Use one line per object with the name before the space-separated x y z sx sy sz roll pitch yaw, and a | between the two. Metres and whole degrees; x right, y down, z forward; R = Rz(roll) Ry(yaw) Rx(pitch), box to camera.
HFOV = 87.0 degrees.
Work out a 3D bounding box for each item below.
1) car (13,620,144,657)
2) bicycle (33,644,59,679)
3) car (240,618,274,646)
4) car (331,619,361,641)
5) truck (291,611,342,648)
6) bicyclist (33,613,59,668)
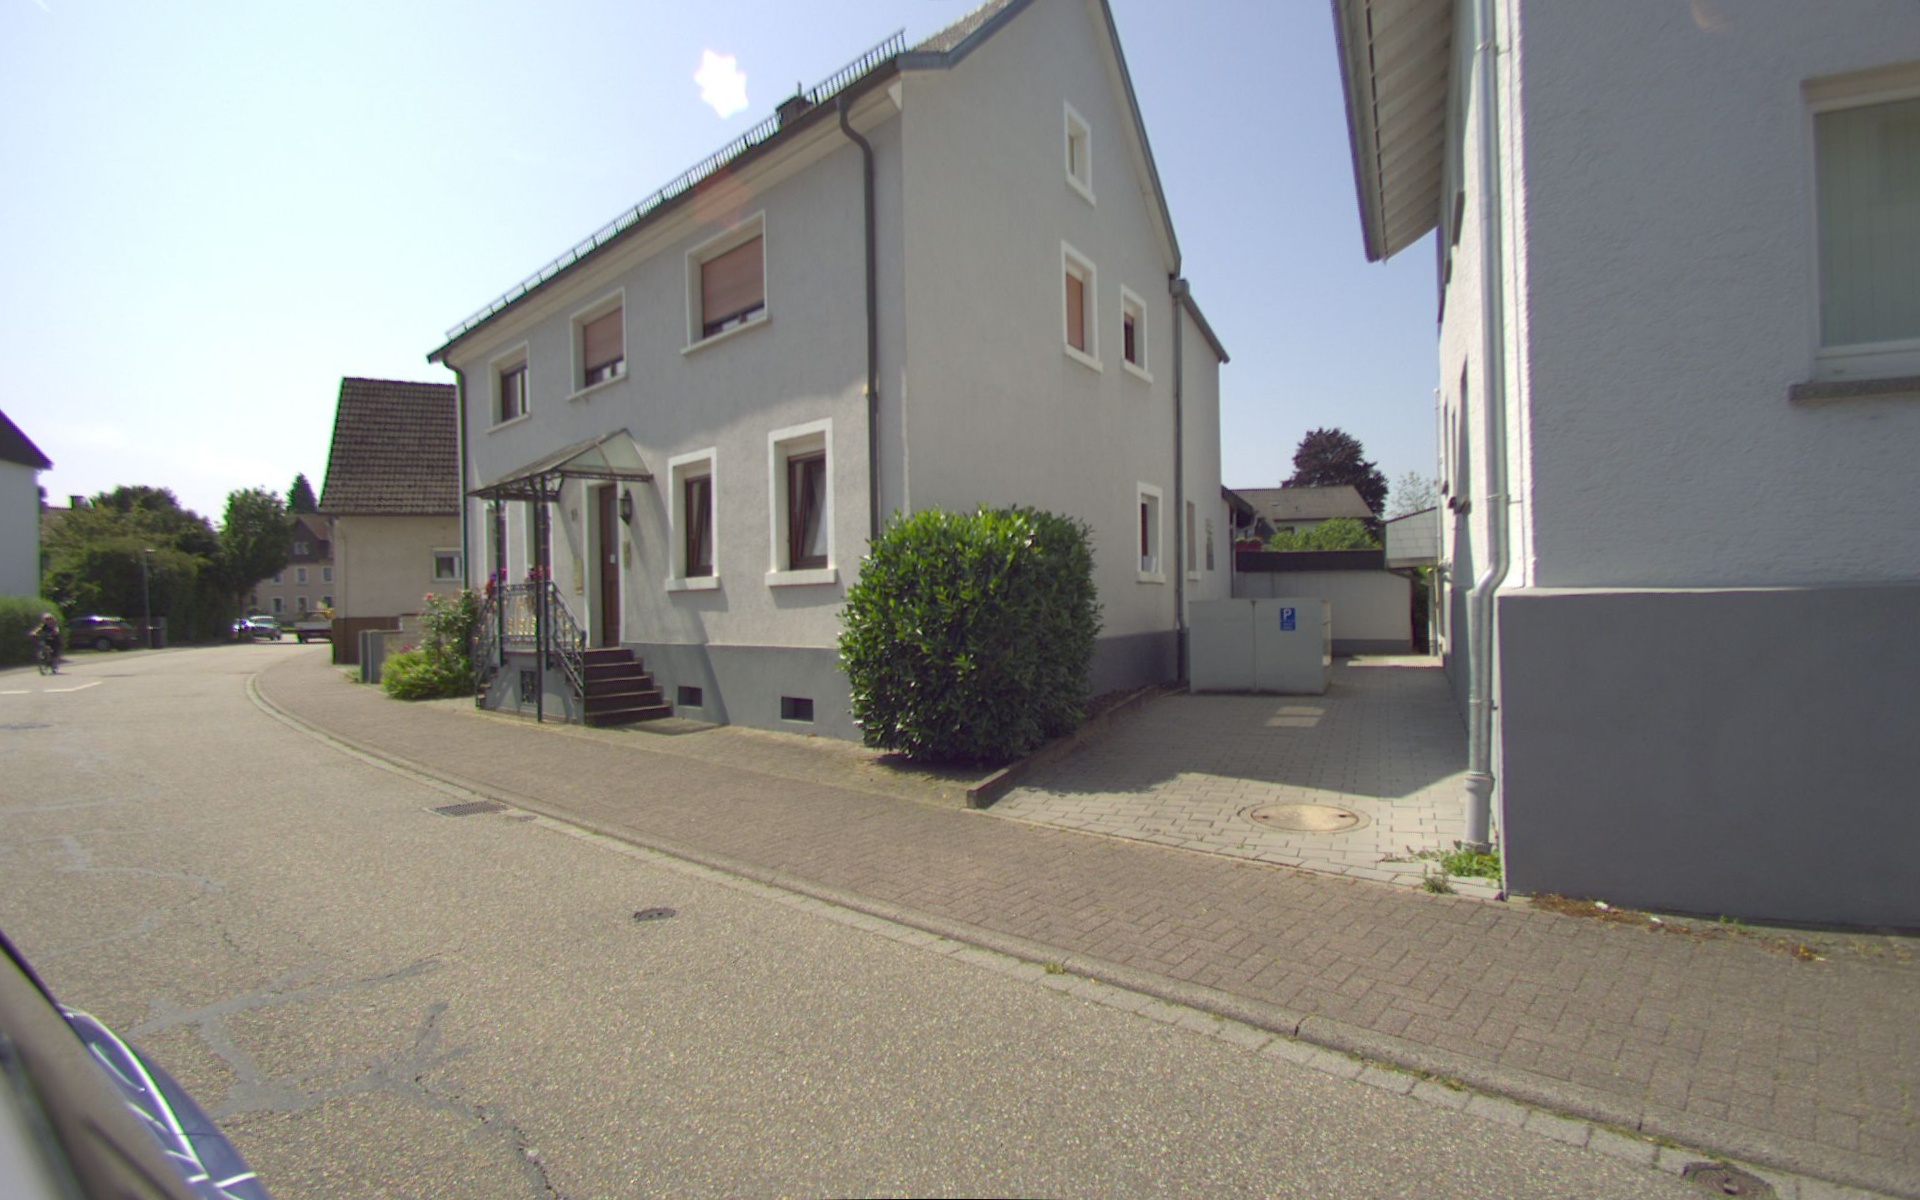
car | -41.703 1.782 48.008 4.218 1.684 2.072 0 -1 -24
bicycle | -25.434 1.697 28.172 0.514 0.911 1.315 0 -1 -42
car | -48.195 2.150 69.433 1.752 1.855 3.912 0 -2 -32
car | -55.690 2.692 91.896 1.965 1.955 4.013 0 -1 -26
truck | -39.770 1.794 62.709 2.230 2.151 6.786 0 -1 -29
bicyclist | -25.538 1.126 28.280 0.539 1.501 0.798 0 -1 -42
